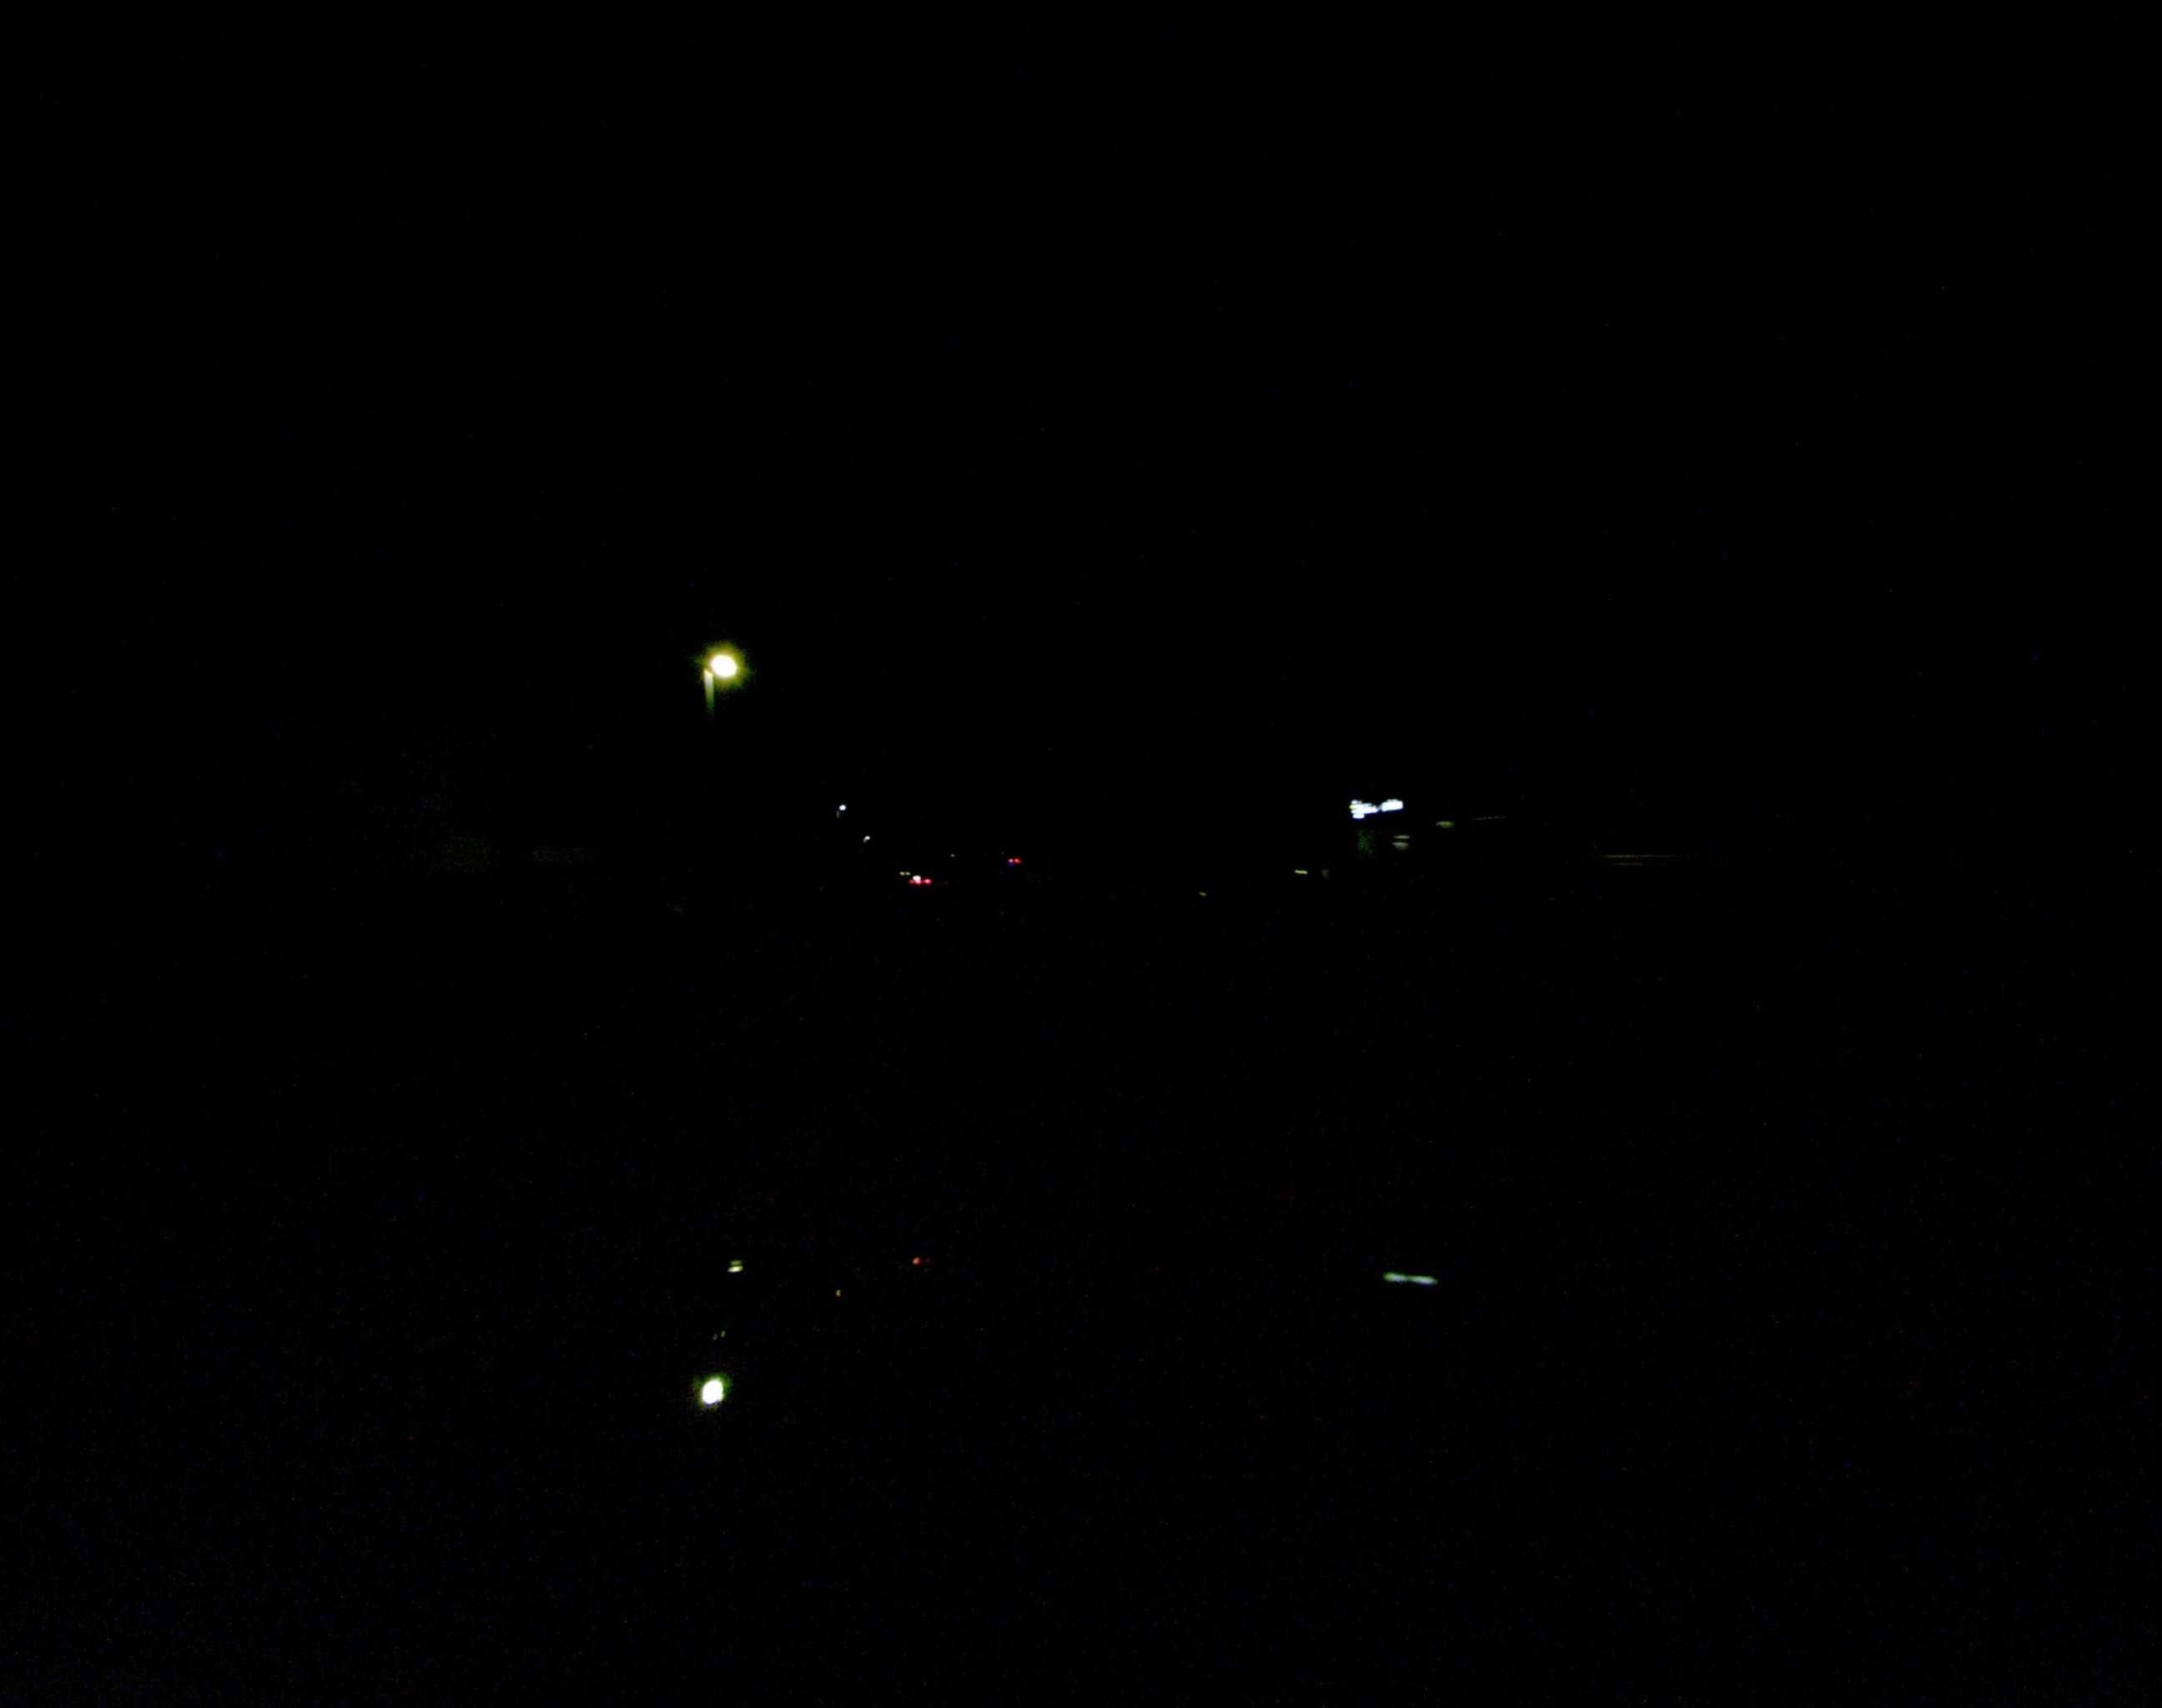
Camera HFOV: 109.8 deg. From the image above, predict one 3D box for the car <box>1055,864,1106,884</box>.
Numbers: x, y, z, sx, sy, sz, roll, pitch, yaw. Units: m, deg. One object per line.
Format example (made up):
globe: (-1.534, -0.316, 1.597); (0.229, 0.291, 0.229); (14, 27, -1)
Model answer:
car: (-0.043, 1.758, 66.259); (4.004, 1.692, 1.945); (1, -2, -20)

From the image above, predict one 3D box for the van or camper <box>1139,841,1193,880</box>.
van or camper: (6.428, 0.553, 58.283); (2.082, 2.730, 5.924); (-3, -1, -14)

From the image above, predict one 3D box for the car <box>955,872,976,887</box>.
car: (-13.699, 3.008, 90.175); (1.935, 1.627, 4.466); (-3, -1, -14)

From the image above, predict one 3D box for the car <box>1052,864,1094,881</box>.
car: (-0.807, 1.891, 78.393); (4.000, 1.608, 1.999); (-2, -1, -10)

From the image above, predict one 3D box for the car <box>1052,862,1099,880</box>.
car: (-0.531, 1.611, 72.890); (4.130, 1.652, 1.998); (0, -1, -12)

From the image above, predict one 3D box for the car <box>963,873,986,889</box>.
car: (-10.483, 2.631, 74.674); (1.756, 1.460, 4.005); (-3, -1, -14)

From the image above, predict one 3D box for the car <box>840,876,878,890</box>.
car: (-24.745, 3.204, 84.894); (3.918, 1.477, 1.831); (0, -1, -13)

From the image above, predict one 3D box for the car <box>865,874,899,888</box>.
car: (-27.930, 3.783, 106.674); (4.368, 1.805, 2.030); (-1, -1, -8)

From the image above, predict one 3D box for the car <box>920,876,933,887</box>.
car: (-24.982, 4.381, 122.561); (2.010, 1.737, 4.554); (-2, -1, -12)

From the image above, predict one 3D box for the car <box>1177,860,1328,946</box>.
car: (3.608, 0.988, 16.748); (1.678, 1.581, 3.983); (-3, -1, -12)

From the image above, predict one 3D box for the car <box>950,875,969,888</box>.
car: (-17.771, 3.973, 110.933); (2.123, 1.539, 4.471); (-6, 1, -15)

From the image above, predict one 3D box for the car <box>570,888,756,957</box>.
car: (-9.533, 1.537, 17.608); (3.404, 1.224, 1.722); (-3, -1, -15)

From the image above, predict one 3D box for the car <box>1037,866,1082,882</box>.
car: (-2.340, 2.117, 81.018); (4.330, 1.552, 2.027); (-2, -1, -20)

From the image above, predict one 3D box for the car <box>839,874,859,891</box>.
car: (-21.804, 2.664, 71.492); (1.645, 1.550, 3.675); (-1, -1, -14)

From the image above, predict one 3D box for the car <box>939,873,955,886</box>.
car: (-21.574, 4.136, 122.266); (2.123, 1.935, 4.883); (-4, -1, -15)

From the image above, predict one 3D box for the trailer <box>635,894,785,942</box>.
trailer: (-10.476, 1.779, 21.708); (3.444, 0.996, 1.952); (-4, 0, -13)
